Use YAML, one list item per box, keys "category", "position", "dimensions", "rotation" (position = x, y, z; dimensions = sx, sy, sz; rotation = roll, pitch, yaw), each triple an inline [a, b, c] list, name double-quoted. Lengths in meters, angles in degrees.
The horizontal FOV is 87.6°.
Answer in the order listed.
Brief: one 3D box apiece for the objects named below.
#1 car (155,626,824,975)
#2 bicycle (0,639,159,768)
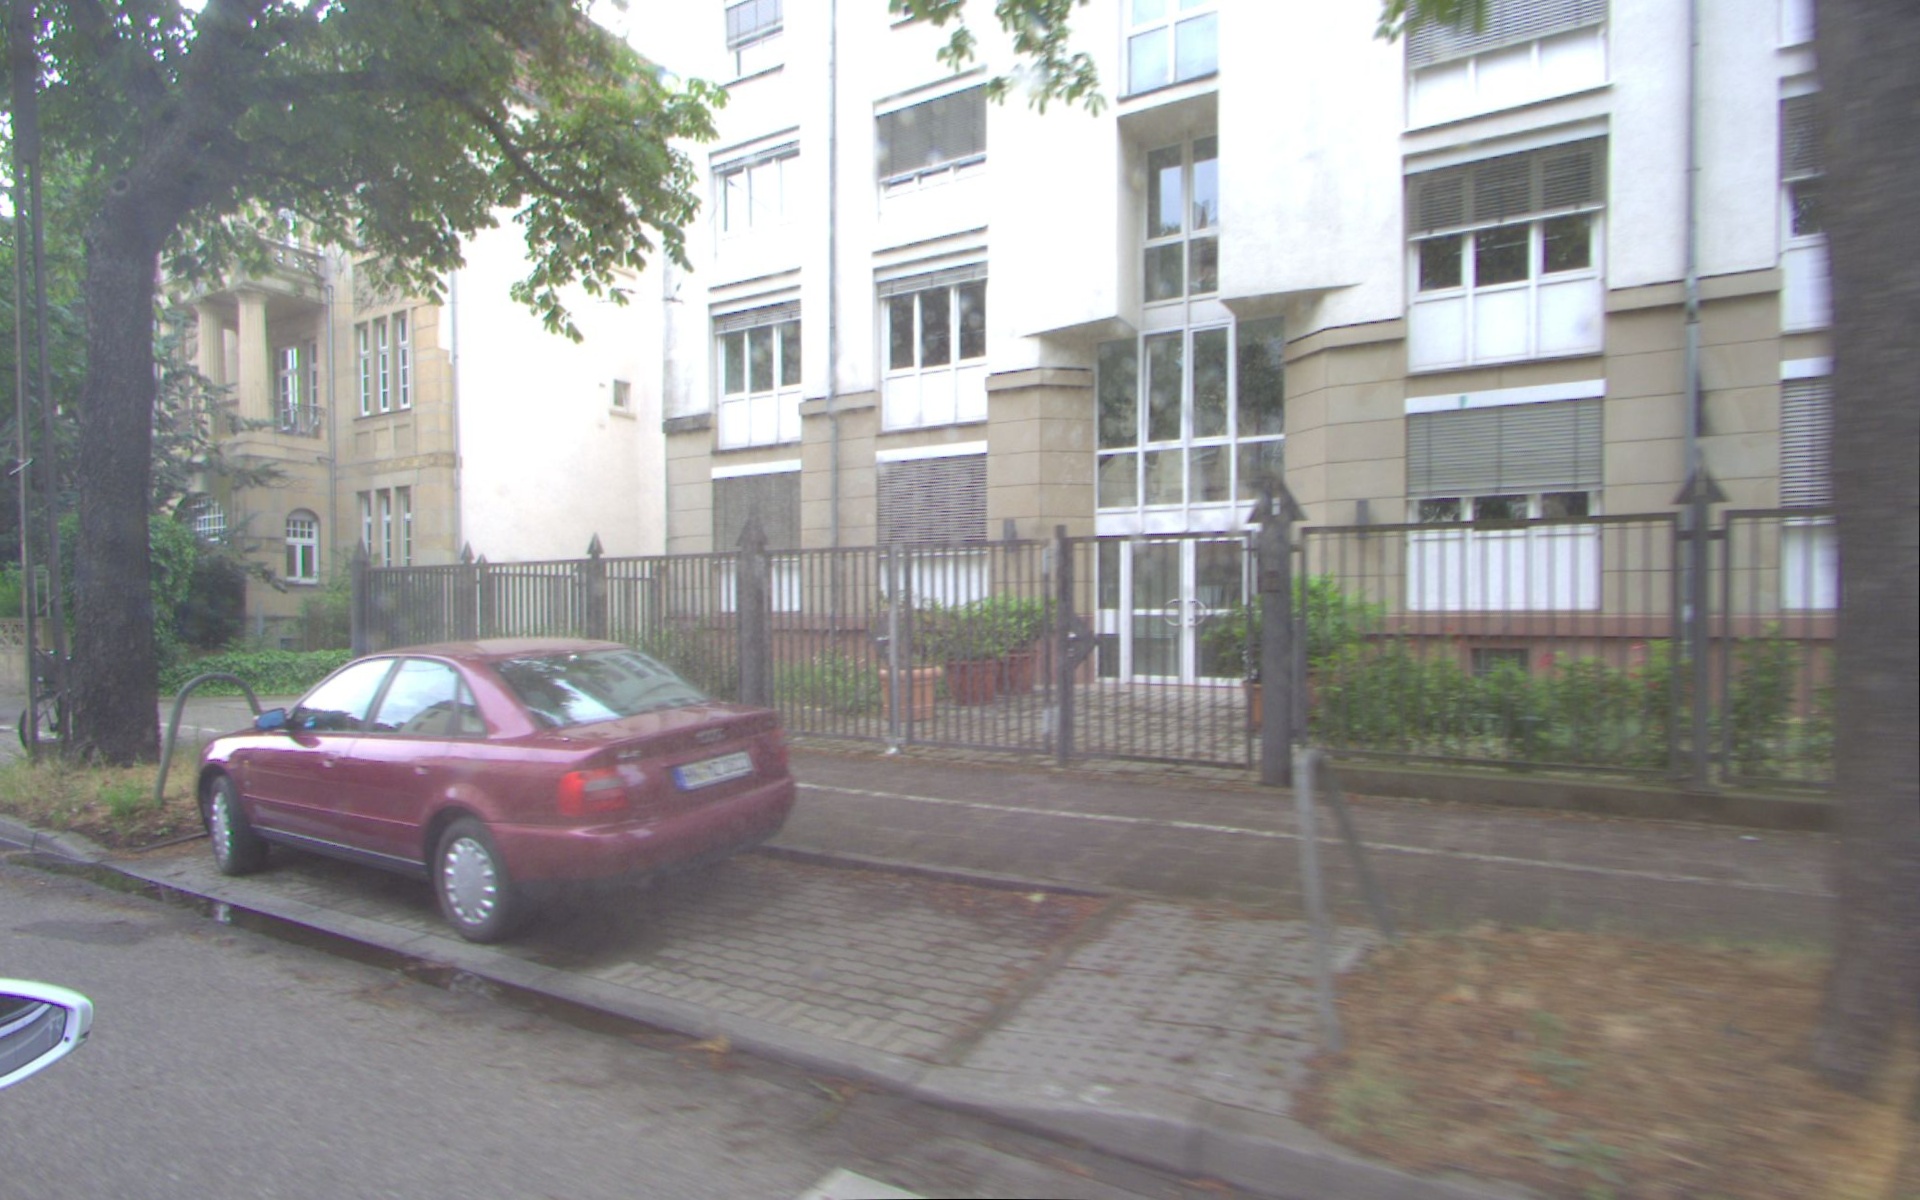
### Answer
- category: "car"
  position: [-2.974, 0.914, 6.081]
  dimensions: [4.165, 1.418, 1.599]
  rotation: [0, 1, 31]
- category: "bicycle"
  position: [-9.157, 1.022, 10.493]
  dimensions: [0.425, 1.213, 1.902]
  rotation: [0, -2, -14]
